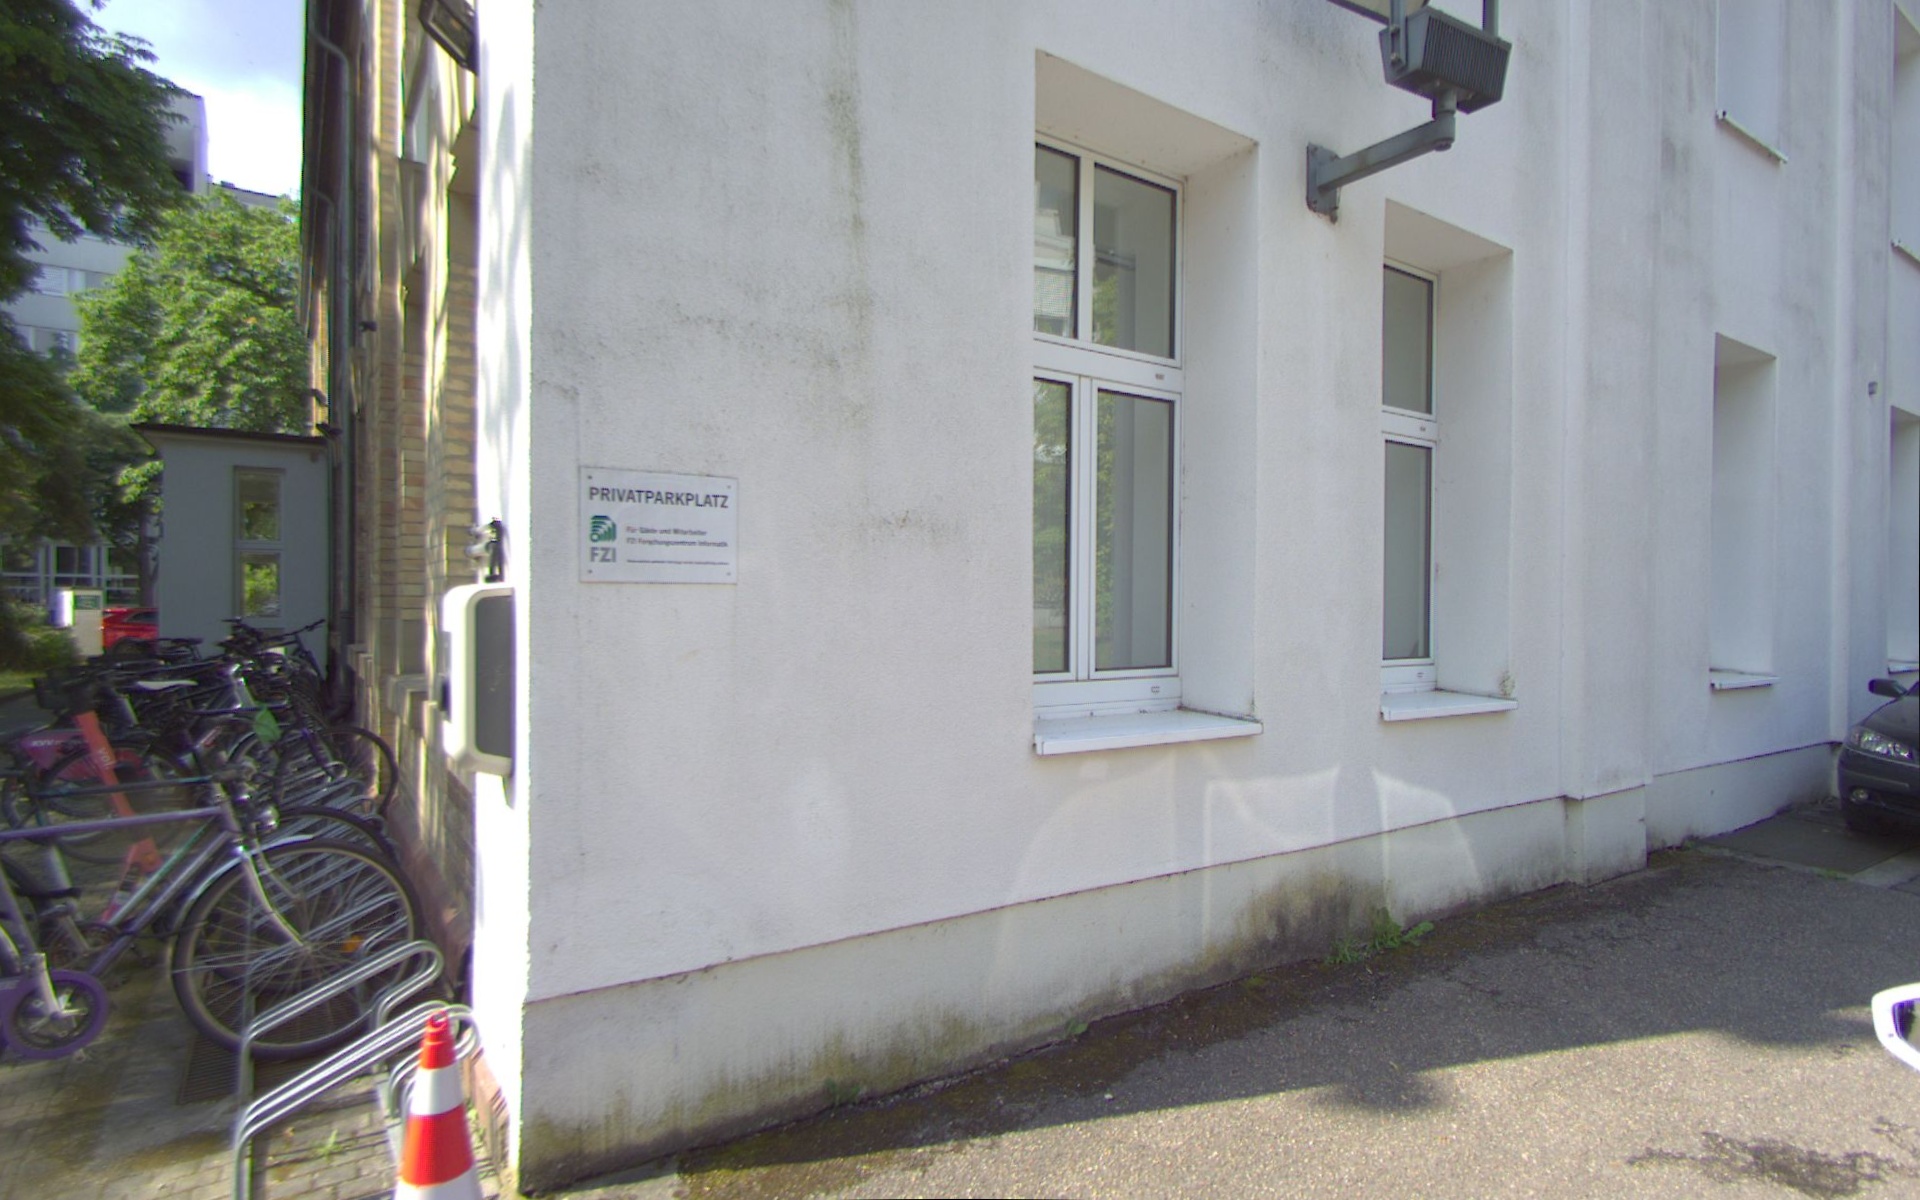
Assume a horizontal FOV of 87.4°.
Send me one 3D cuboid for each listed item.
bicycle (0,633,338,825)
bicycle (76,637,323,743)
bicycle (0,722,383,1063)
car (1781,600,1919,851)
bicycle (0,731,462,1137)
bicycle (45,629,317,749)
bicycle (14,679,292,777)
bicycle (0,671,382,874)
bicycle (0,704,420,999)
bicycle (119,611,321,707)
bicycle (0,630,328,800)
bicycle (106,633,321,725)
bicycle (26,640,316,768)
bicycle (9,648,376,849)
[{"bbox_3d":[-5.658,0.879,7.150,2.043,1.232,0.416,2,1,-31],"label":"bicycle"},{"bbox_3d":[-8.090,0.947,10.803,2.043,1.070,0.416,2,-3,-31],"label":"bicycle"},{"bbox_3d":[-3.104,0.994,3.498,1.842,1.051,0.317,3,0,-36],"label":"bicycle"},{"bbox_3d":[7.563,0.899,6.886,4.298,1.461,1.867,5,-2,-35],"label":"car"},{"bbox_3d":[-2.573,0.974,3.046,1.842,1.051,0.317,3,0,-36],"label":"bicycle"},{"bbox_3d":[-7.564,0.854,9.872,2.043,1.070,0.416,2,1,-31],"label":"bicycle"},{"bbox_3d":[-6.887,1.076,8.675,1.837,0.715,0.318,1,1,-29],"label":"bicycle"},{"bbox_3d":[-4.503,0.958,5.922,1.842,1.051,0.317,3,0,-36],"label":"bicycle"},{"bbox_3d":[-3.310,0.984,4.145,1.842,1.051,0.317,3,0,-36],"label":"bicycle"},{"bbox_3d":[-8.618,0.698,11.778,1.842,1.051,0.317,3,0,-36],"label":"bicycle"},{"bbox_3d":[-6.293,0.865,8.034,2.043,1.138,0.416,-2,3,-31],"label":"bicycle"},{"bbox_3d":[-9.076,0.956,12.315,2.043,1.070,0.416,2,-3,-31],"label":"bicycle"},{"bbox_3d":[-7.199,0.929,9.292,2.043,1.070,0.416,2,1,-31],"label":"bicycle"},{"bbox_3d":[-4.919,0.906,6.579,1.842,1.158,0.354,2,1,-36],"label":"bicycle"}]
